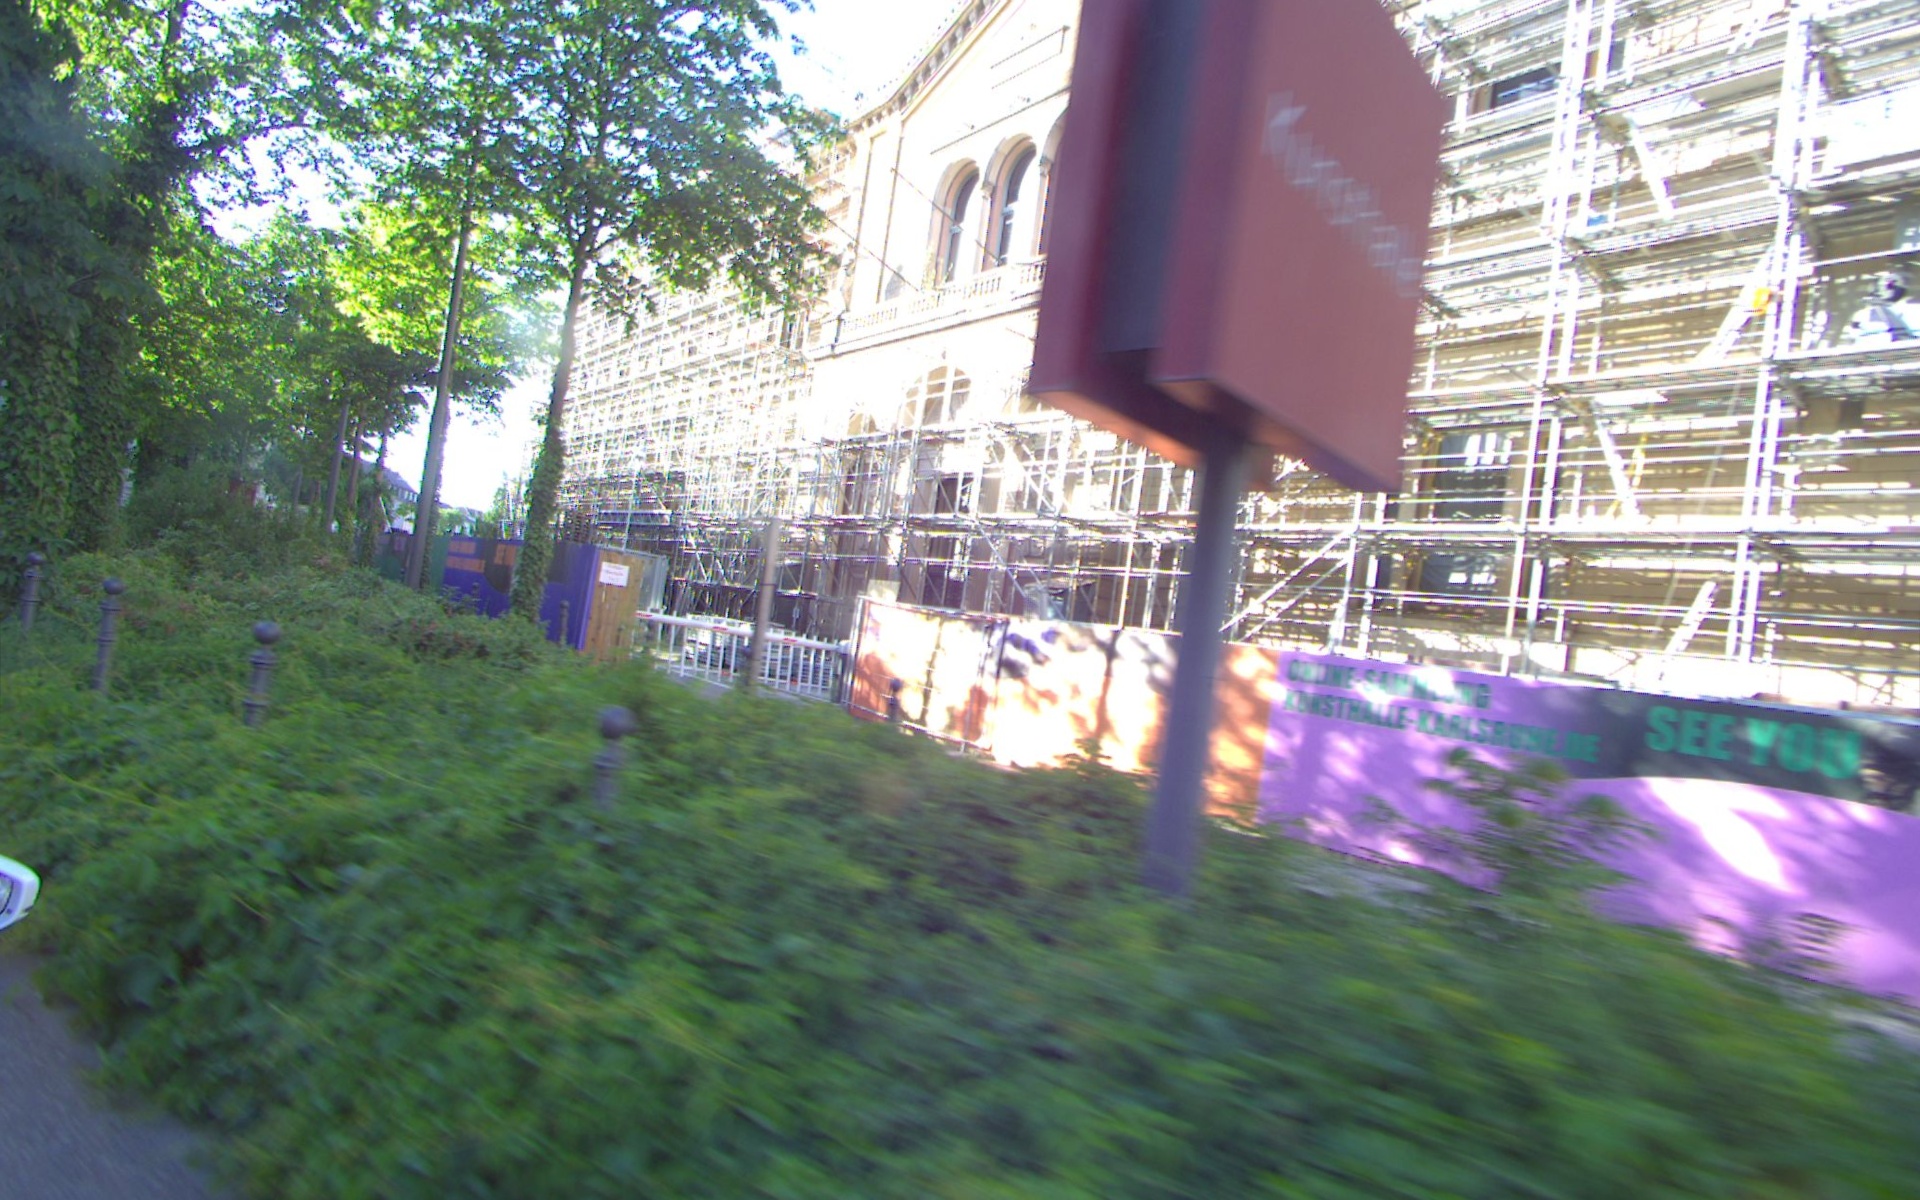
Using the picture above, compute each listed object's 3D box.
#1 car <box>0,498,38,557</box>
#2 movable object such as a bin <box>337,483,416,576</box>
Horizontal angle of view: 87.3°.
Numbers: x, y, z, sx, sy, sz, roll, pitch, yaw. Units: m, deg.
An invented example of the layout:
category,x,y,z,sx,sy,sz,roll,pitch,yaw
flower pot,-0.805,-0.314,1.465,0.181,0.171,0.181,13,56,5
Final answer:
category,x,y,z,sx,sy,sz,roll,pitch,yaw
car,-25.522,-1.994,25.584,1.825,1.480,4.032,10,-2,-26
movable object such as a bin,-33.711,-3.988,58.251,3.282,4.593,7.844,7,-1,-30
